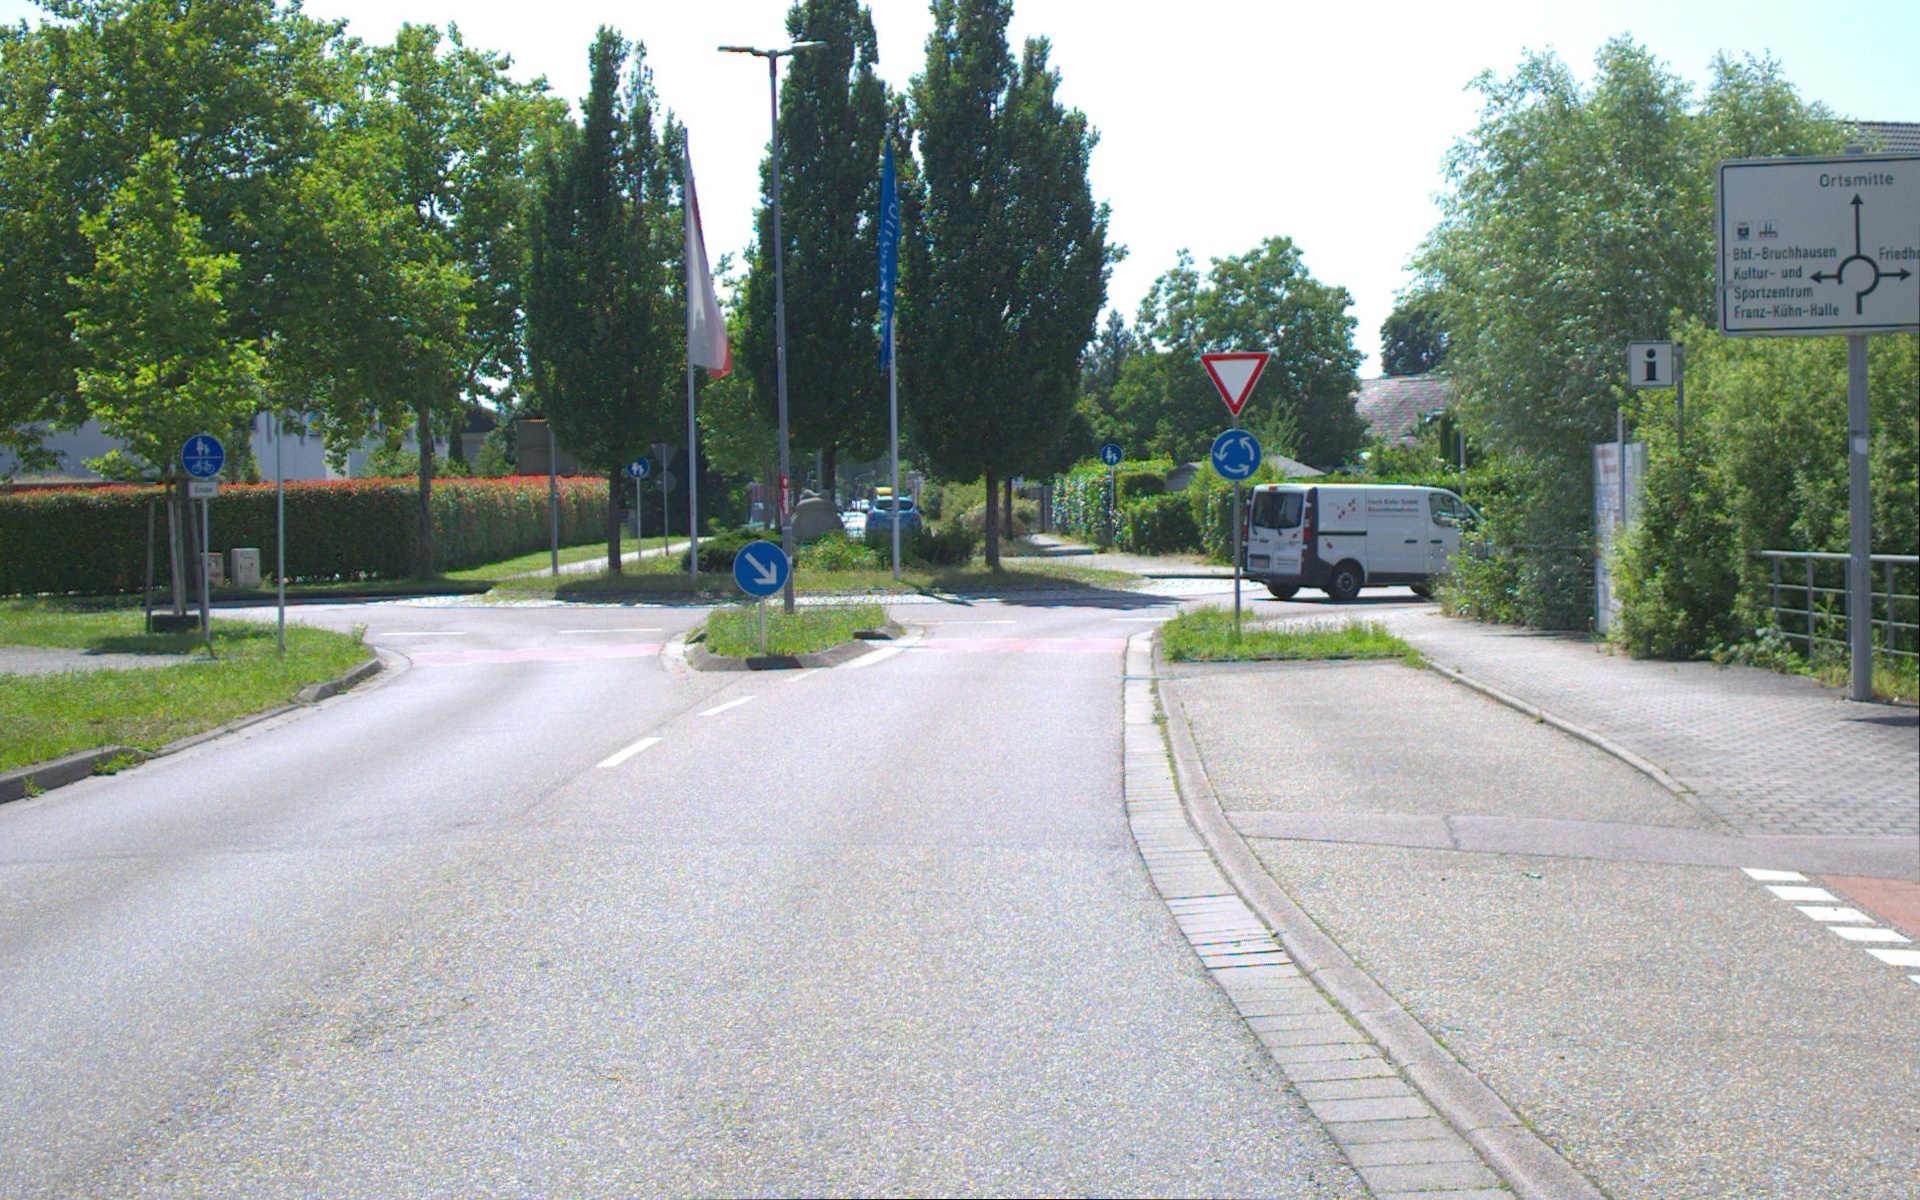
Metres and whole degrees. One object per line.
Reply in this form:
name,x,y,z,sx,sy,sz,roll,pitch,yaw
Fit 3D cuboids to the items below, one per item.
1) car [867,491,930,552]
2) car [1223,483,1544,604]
car,-1.941,-2.456,107.559,1.923,1.879,4.001,0,1,-2
car,7.270,-0.969,58.912,5.131,2.007,2.135,0,1,-28
